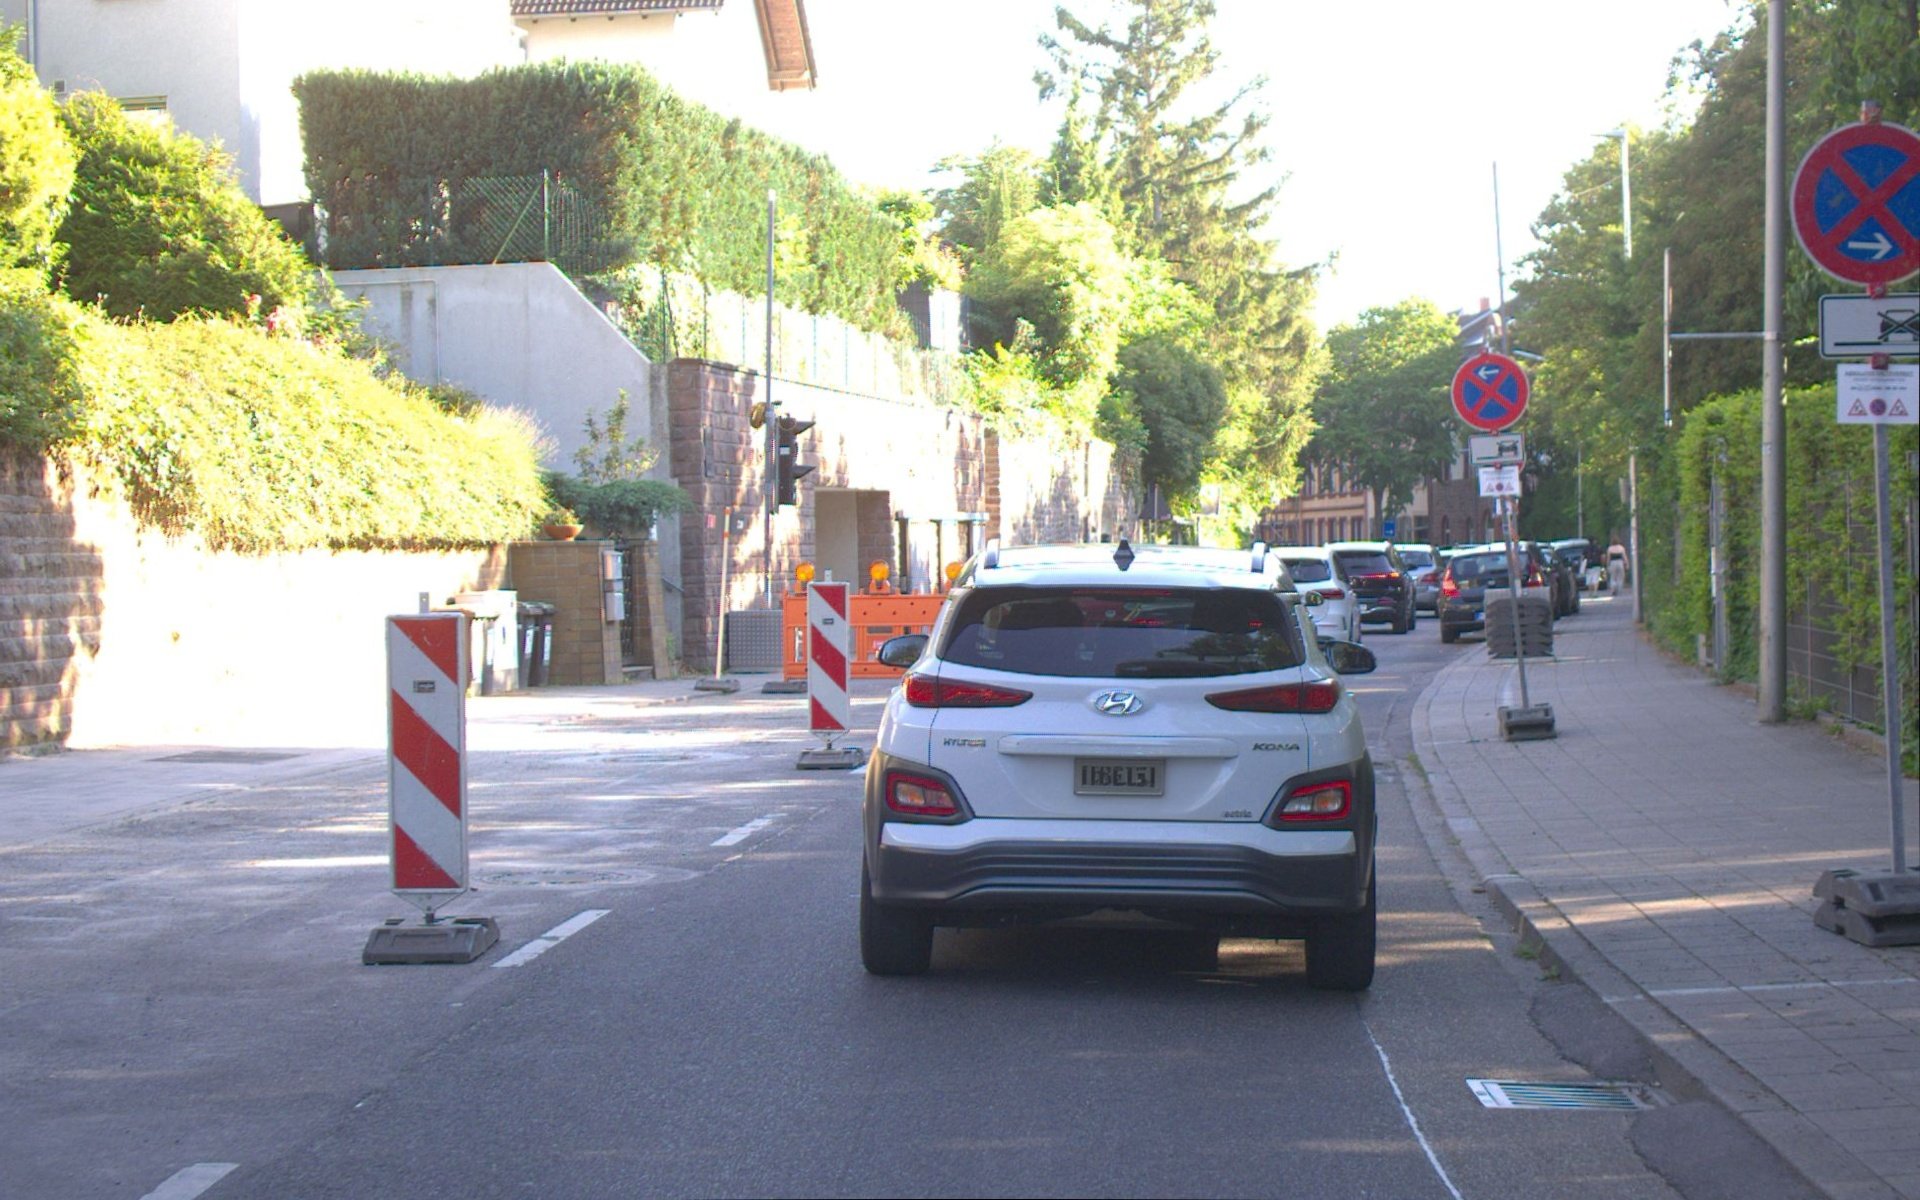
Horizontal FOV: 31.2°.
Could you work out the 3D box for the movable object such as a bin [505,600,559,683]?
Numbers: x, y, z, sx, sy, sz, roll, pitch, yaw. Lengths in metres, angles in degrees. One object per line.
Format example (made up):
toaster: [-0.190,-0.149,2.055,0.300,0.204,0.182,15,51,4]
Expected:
movable object such as a bin: [-4.671,0.450,37.529,0.456,0.881,0.500,0,1,10]

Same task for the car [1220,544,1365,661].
car: [4.456,0.002,45.733,1.571,1.472,3.546,0,1,11]

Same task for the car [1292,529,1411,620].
car: [6.972,-0.472,60.984,1.694,1.528,3.879,-1,1,12]

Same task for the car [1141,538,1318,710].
car: [2.634,0.189,33.072,1.512,1.528,3.547,-1,1,7]

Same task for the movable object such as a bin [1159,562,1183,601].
movable object such as a bin: [5.275,-0.461,85.970,0.573,0.981,0.438,0,0,9]

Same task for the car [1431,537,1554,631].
car: [8.601,-0.283,55.329,1.795,1.436,3.998,-1,1,11]

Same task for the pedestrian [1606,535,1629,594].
pedestrian: [17.757,-0.966,92.828,0.503,1.564,0.503,-3,0,12]

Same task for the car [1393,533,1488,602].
car: [10.562,-0.738,75.390,1.694,1.442,3.879,-1,1,13]

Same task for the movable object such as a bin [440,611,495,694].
movable object such as a bin: [-5.040,0.537,35.184,0.454,0.831,0.392,-1,1,9]

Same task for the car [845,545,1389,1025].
car: [0.726,0.585,13.438,1.772,1.537,3.999,2,1,6]

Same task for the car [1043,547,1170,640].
car: [2.407,-0.129,55.770,1.627,1.417,3.562,-2,1,9]

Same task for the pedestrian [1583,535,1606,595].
pedestrian: [17.196,-0.953,93.144,0.503,1.601,0.491,-3,0,12]

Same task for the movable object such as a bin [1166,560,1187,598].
movable object such as a bin: [5.482,-0.535,87.005,0.490,0.961,0.583,0,1,9]

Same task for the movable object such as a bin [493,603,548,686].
movable object such as a bin: [-4.727,0.476,36.984,0.456,0.881,0.500,0,1,10]

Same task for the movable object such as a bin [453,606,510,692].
movable object such as a bin: [-4.958,0.503,35.646,0.456,0.881,0.500,0,1,10]
